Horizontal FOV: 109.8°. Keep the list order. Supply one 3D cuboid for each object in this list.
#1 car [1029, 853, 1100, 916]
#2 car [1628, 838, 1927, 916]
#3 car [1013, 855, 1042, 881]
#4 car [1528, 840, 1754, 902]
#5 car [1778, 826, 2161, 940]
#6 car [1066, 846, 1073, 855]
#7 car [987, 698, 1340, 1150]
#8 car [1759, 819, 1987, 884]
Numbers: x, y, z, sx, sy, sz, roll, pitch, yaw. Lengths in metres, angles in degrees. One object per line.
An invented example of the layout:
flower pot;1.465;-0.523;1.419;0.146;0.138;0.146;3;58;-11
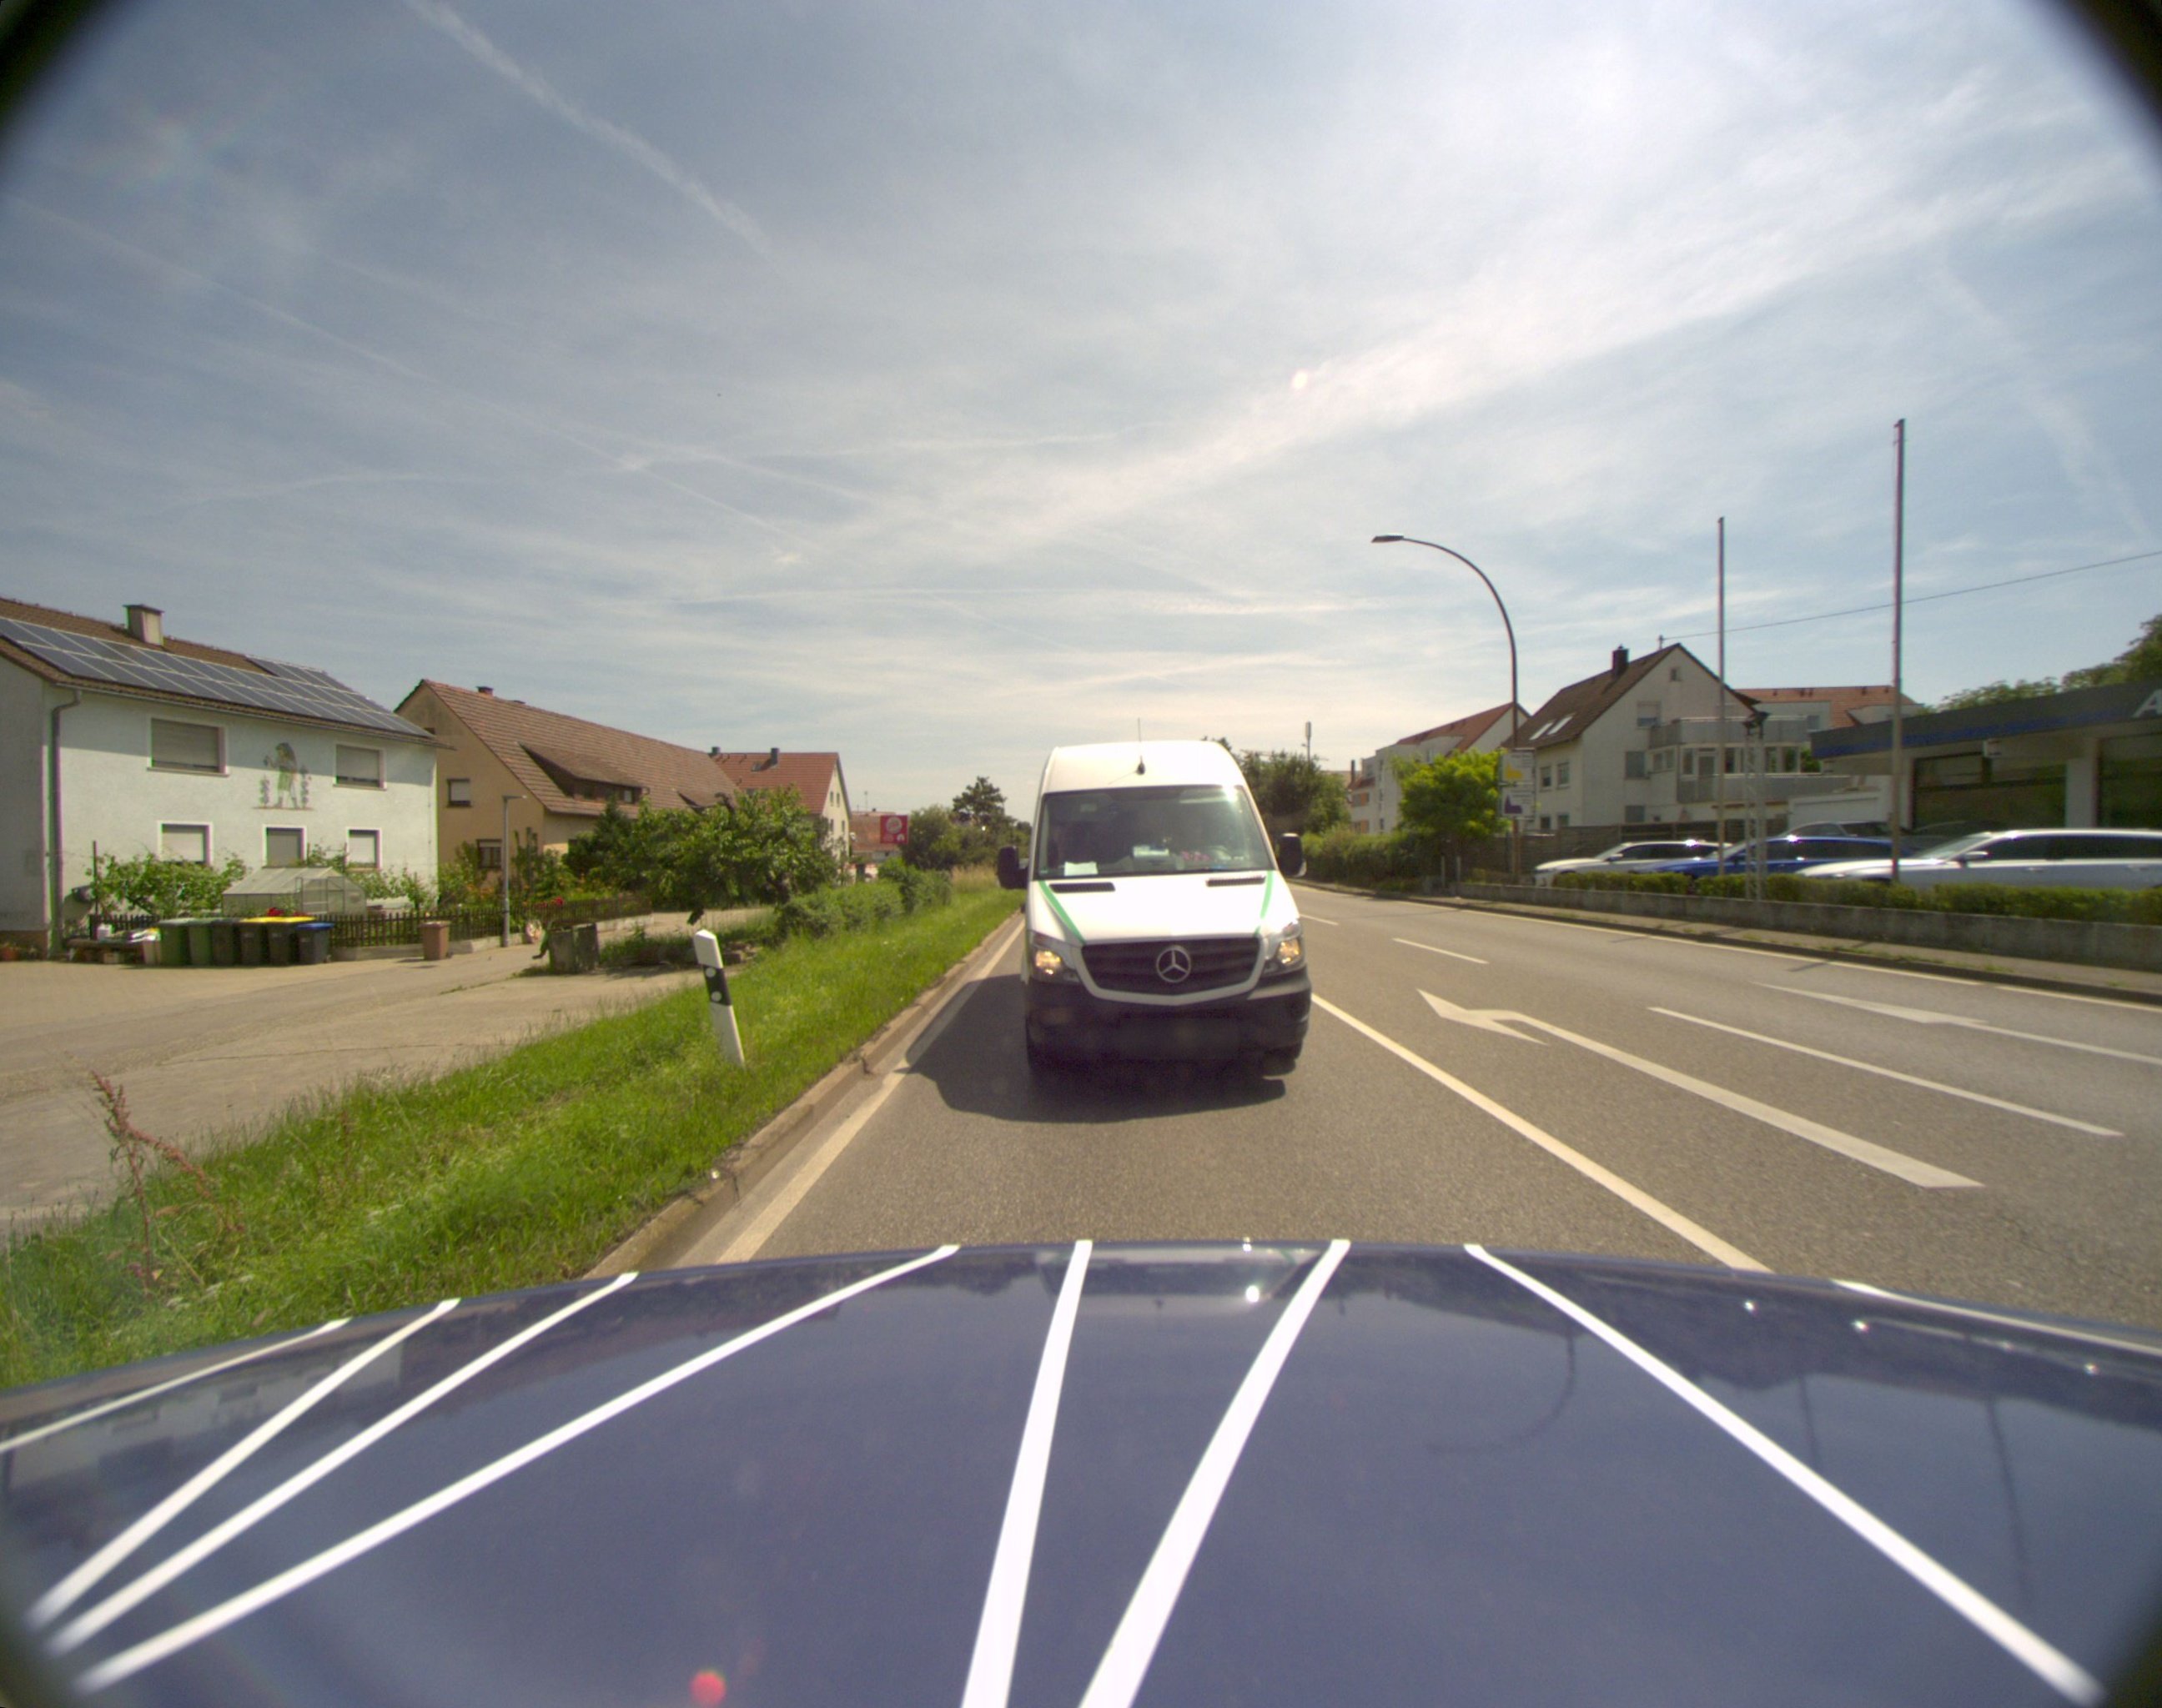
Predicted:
car;-0.474;0.842;23.313;1.884;1.652;4.625;-2;0;0
car;14.367;0.479;16.072;4.331;1.439;1.860;-2;1;29
car;-3.424;0.889;49.032;1.636;1.476;3.551;-4;1;-1
car;14.474;0.460;20.016;4.568;1.439;1.860;-2;1;29
car;14.102;0.468;11.786;4.505;1.439;1.860;-4;0;30
car;-3.469;-0.944;227.426;1.998;2.573;3.999;-2;1;0
car;0.466;0.394;7.189;1.939;2.514;5.748;-2;0;0
car;20.779;-0.067;20.278;1.807;1.456;4.585;-2;0;10
